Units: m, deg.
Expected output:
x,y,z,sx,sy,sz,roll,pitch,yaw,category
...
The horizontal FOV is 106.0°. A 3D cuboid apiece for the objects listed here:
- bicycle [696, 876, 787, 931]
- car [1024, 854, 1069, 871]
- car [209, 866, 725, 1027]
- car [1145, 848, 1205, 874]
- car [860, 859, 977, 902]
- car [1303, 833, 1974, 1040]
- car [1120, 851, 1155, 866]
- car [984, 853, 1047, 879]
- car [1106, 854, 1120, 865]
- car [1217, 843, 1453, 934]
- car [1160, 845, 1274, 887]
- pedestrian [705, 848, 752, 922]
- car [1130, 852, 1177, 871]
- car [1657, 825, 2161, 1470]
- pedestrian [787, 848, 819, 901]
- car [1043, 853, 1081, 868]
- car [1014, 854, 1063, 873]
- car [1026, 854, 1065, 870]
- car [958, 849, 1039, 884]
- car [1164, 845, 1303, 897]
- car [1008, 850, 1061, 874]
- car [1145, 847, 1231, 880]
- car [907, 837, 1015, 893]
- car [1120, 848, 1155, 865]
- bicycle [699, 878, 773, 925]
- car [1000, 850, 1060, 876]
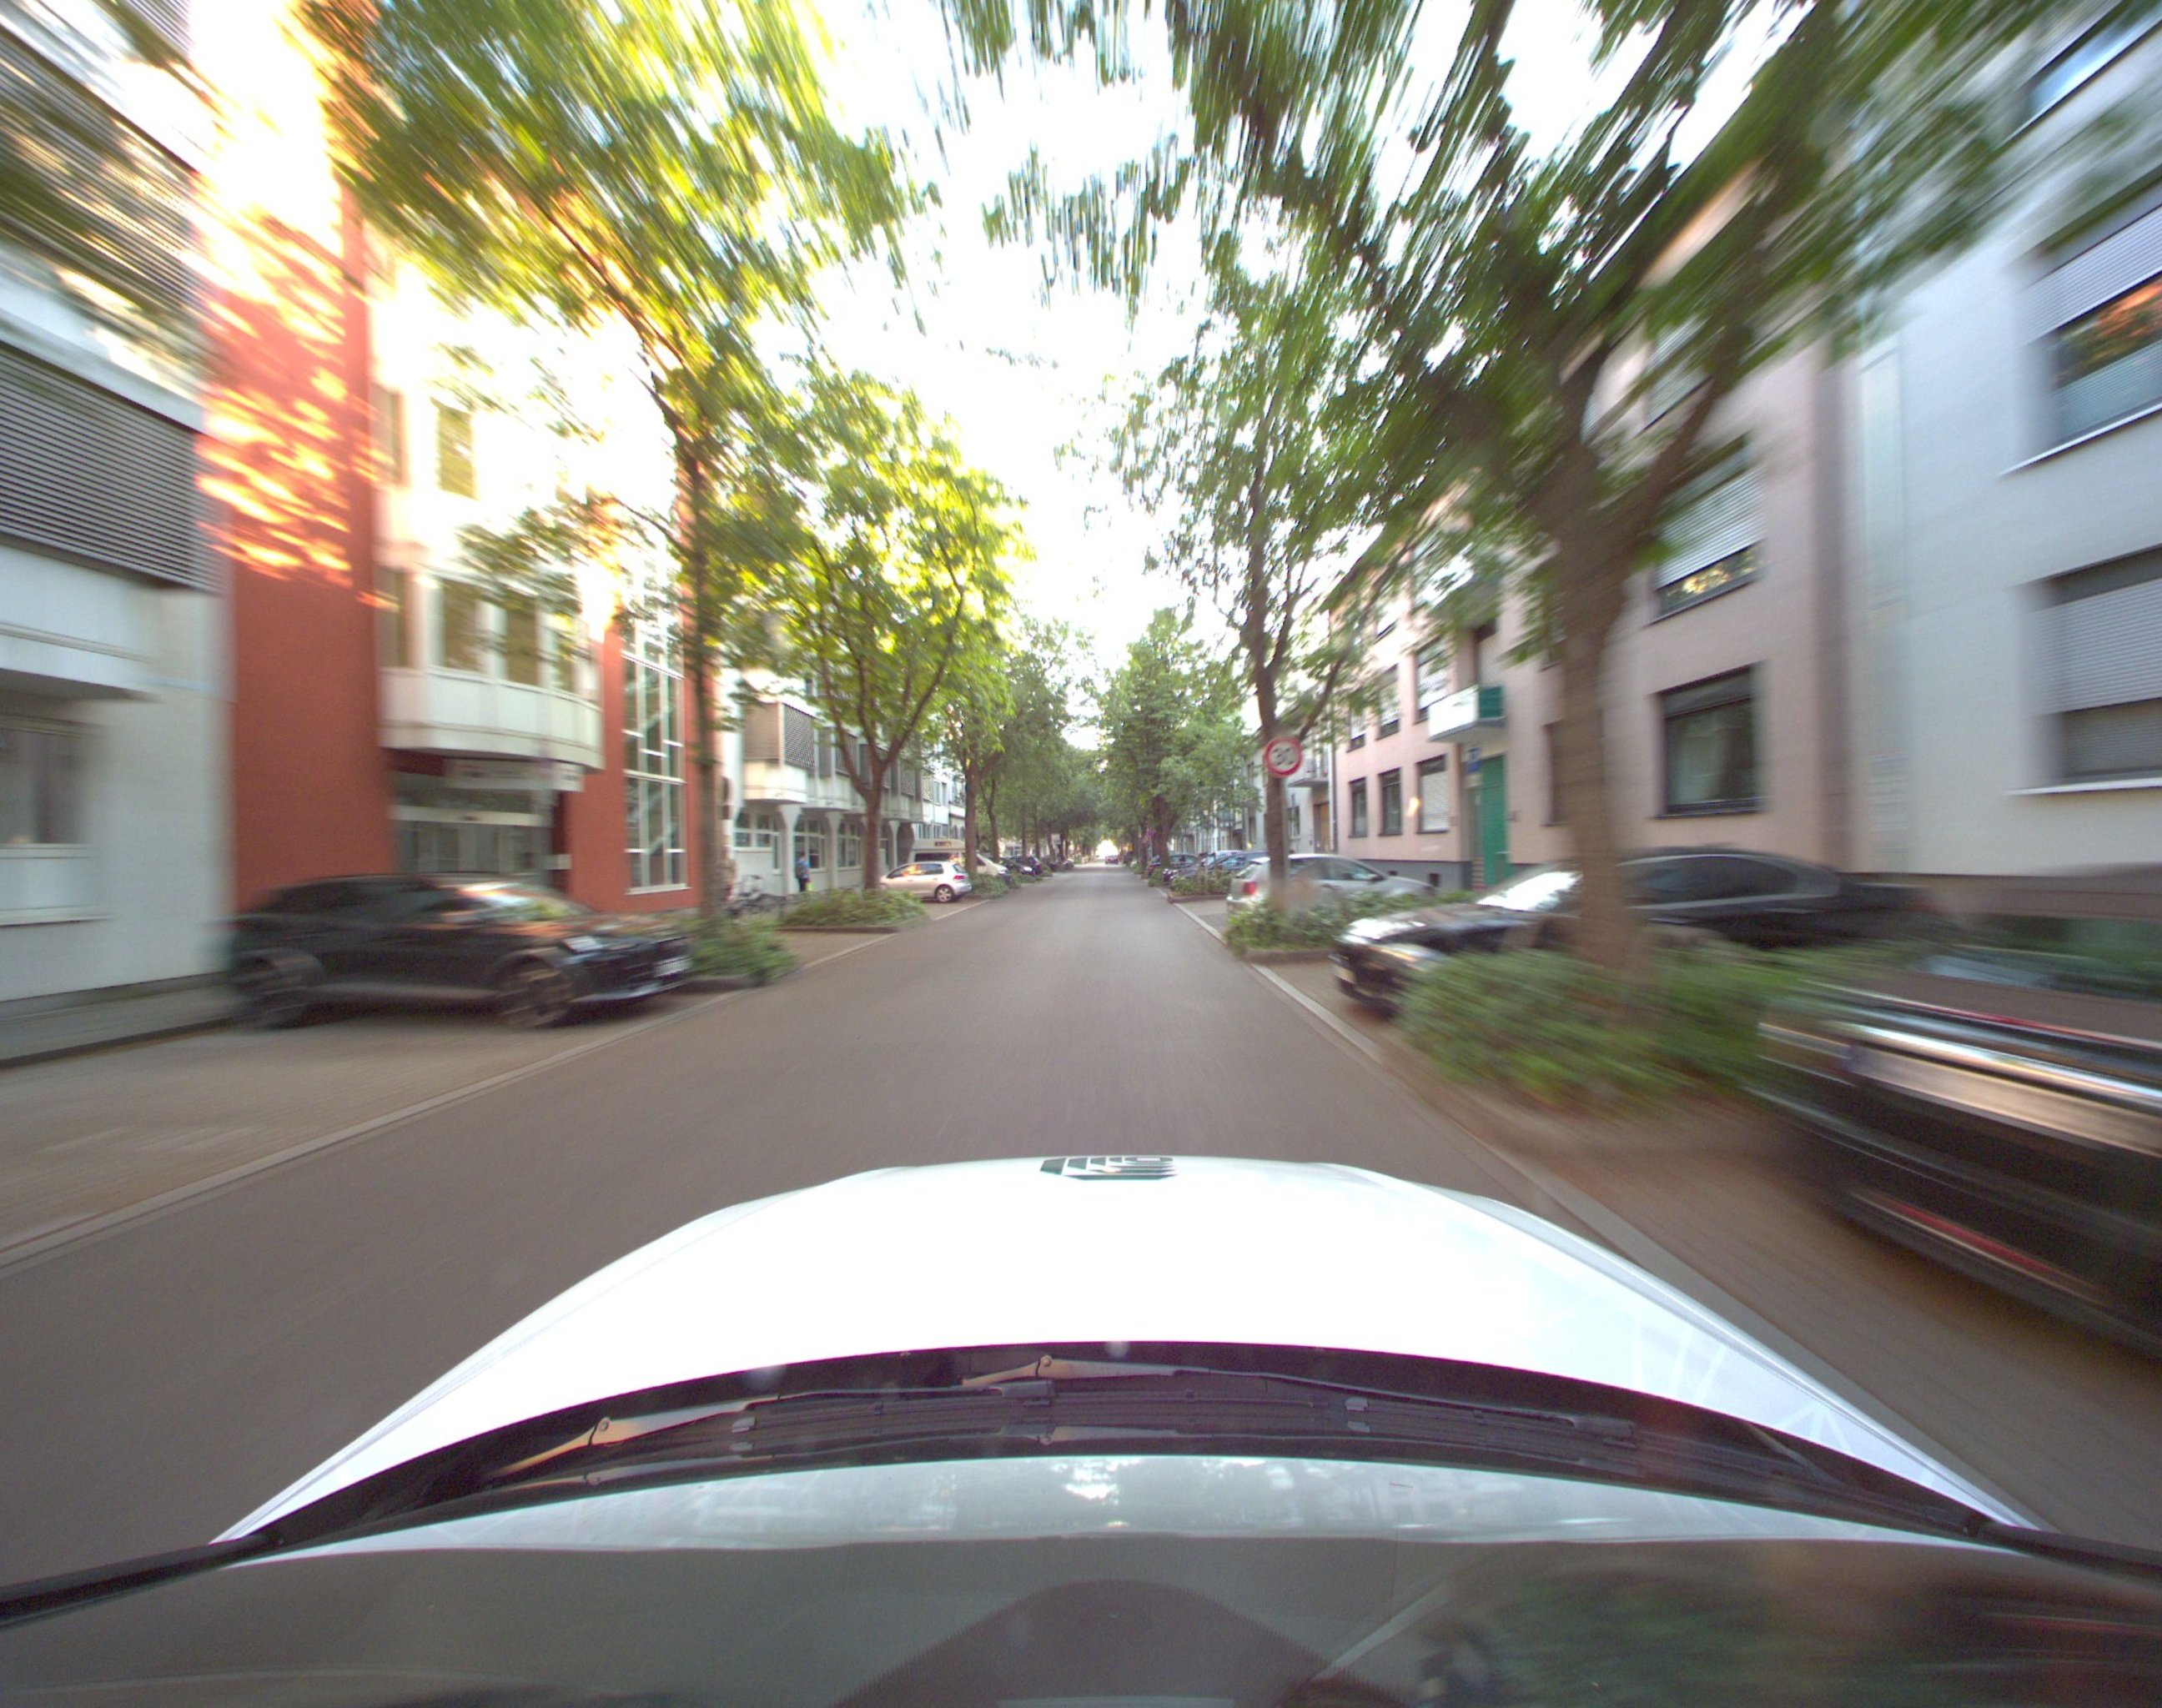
x,y,z,sx,sy,sz,roll,pitch,yaw,category
-7.353,1.063,17.696,1.801,1.107,0.496,-1,0,-22,bicycle
-3.755,0.968,90.157,4.744,1.630,1.964,-3,0,1,car
-6.375,0.911,8.852,4.113,1.486,1.930,-1,0,1,car
6.666,0.459,57.802,4.035,1.597,1.826,-3,0,1,car
-5.869,0.954,29.703,3.854,1.486,1.759,-1,0,3,car
4.659,0.647,7.445,4.693,1.421,2.036,-3,0,1,car
6.979,0.554,100.895,4.252,1.565,1.964,-3,0,1,car
-4.662,0.836,58.233,4.187,1.635,1.964,-3,0,1,car
4.645,0.804,118.516,1.949,1.565,4.284,-3,0,2,car
4.721,0.613,15.520,3.866,1.439,1.847,-3,0,-2,car
5.916,0.523,35.781,4.665,1.521,1.964,-3,0,1,car
-8.510,0.739,19.670,0.697,1.757,0.744,-1,0,25,pedestrian
6.884,0.675,77.830,4.252,1.565,1.964,-3,0,1,car
4.240,0.631,2.578,3.472,1.452,1.899,-3,0,-1,car
-9.280,0.662,27.172,0.700,1.728,0.905,-1,0,2,pedestrian
-2.490,0.824,105.814,4.744,1.630,1.964,-3,0,1,car
-4.234,0.954,81.707,4.744,1.630,1.964,-3,0,1,car
-3.827,0.841,87.681,3.972,1.510,1.801,-3,0,1,car
-5.061,0.769,50.514,4.665,1.854,1.964,-3,0,1,car
5.391,0.573,29.269,4.697,1.710,1.952,-1,1,3,car
-4.430,0.729,77.389,4.744,1.984,1.964,-3,0,1,car
5.830,0.494,44.701,4.486,1.521,1.998,-3,0,5,car
-5.555,0.502,38.060,4.665,2.478,2.001,-1,0,1,car
7.152,0.348,103.655,4.252,1.962,1.964,-3,0,1,car
-8.000,1.093,18.869,1.778,1.029,0.503,0,0,24,bicycle
-4.127,0.725,65.920,4.578,1.807,1.964,-3,0,1,car
